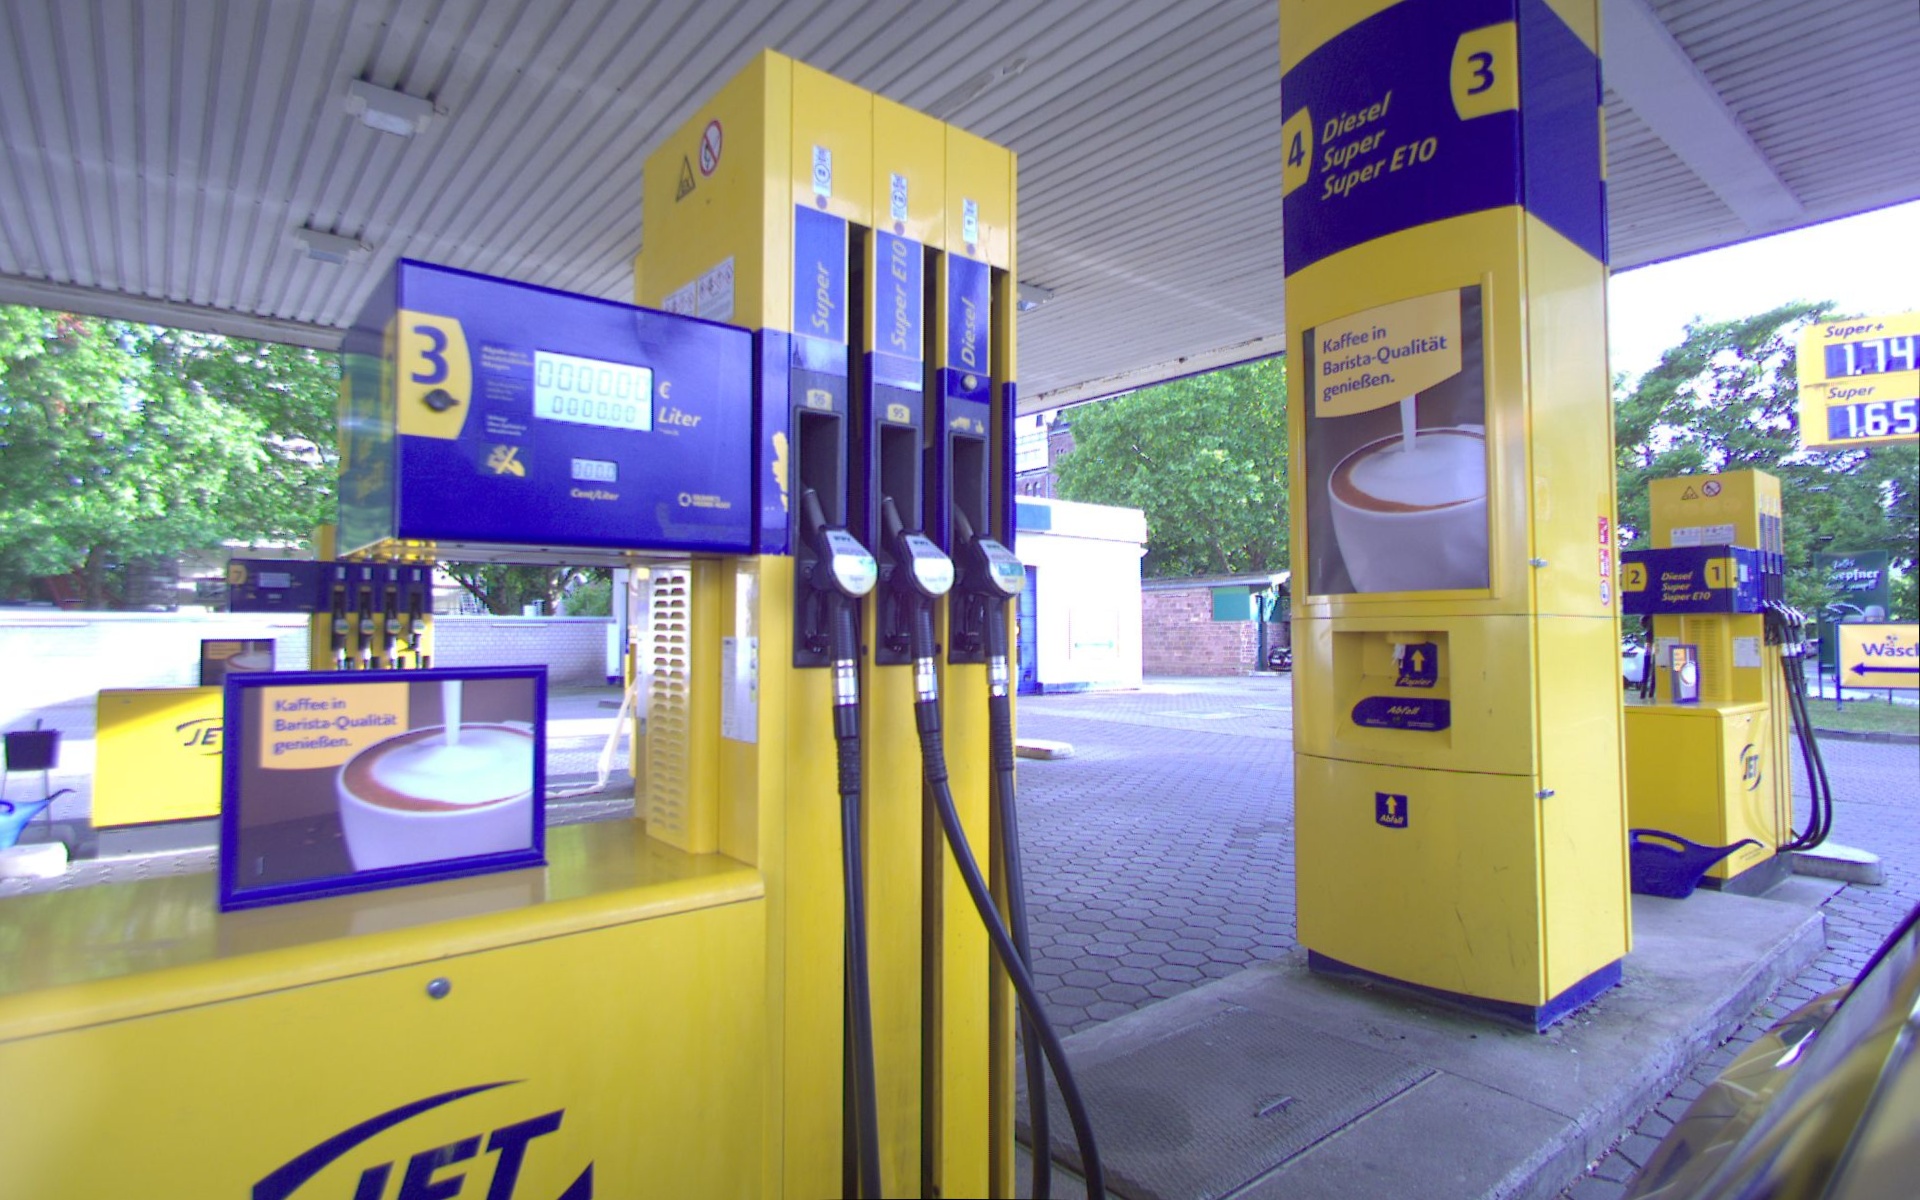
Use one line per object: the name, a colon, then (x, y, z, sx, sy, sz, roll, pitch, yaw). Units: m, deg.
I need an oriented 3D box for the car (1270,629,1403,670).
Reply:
car: (12.838, 1.698, 34.498, 4.134, 1.294, 1.751, 2, -3, -22)

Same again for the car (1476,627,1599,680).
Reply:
car: (17.564, 1.640, 30.750, 3.923, 1.529, 1.740, 3, -3, -35)

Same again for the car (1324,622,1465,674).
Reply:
car: (13.797, 1.547, 32.149, 4.134, 1.544, 1.791, 2, -3, -24)

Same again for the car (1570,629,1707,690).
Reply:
car: (18.229, 1.561, 27.162, 3.923, 1.529, 1.740, 2, -3, -35)

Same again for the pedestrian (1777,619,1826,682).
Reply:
pedestrian: (27.909, 1.662, 33.582, 0.923, 2.040, 1.205, 0, -2, 25)
